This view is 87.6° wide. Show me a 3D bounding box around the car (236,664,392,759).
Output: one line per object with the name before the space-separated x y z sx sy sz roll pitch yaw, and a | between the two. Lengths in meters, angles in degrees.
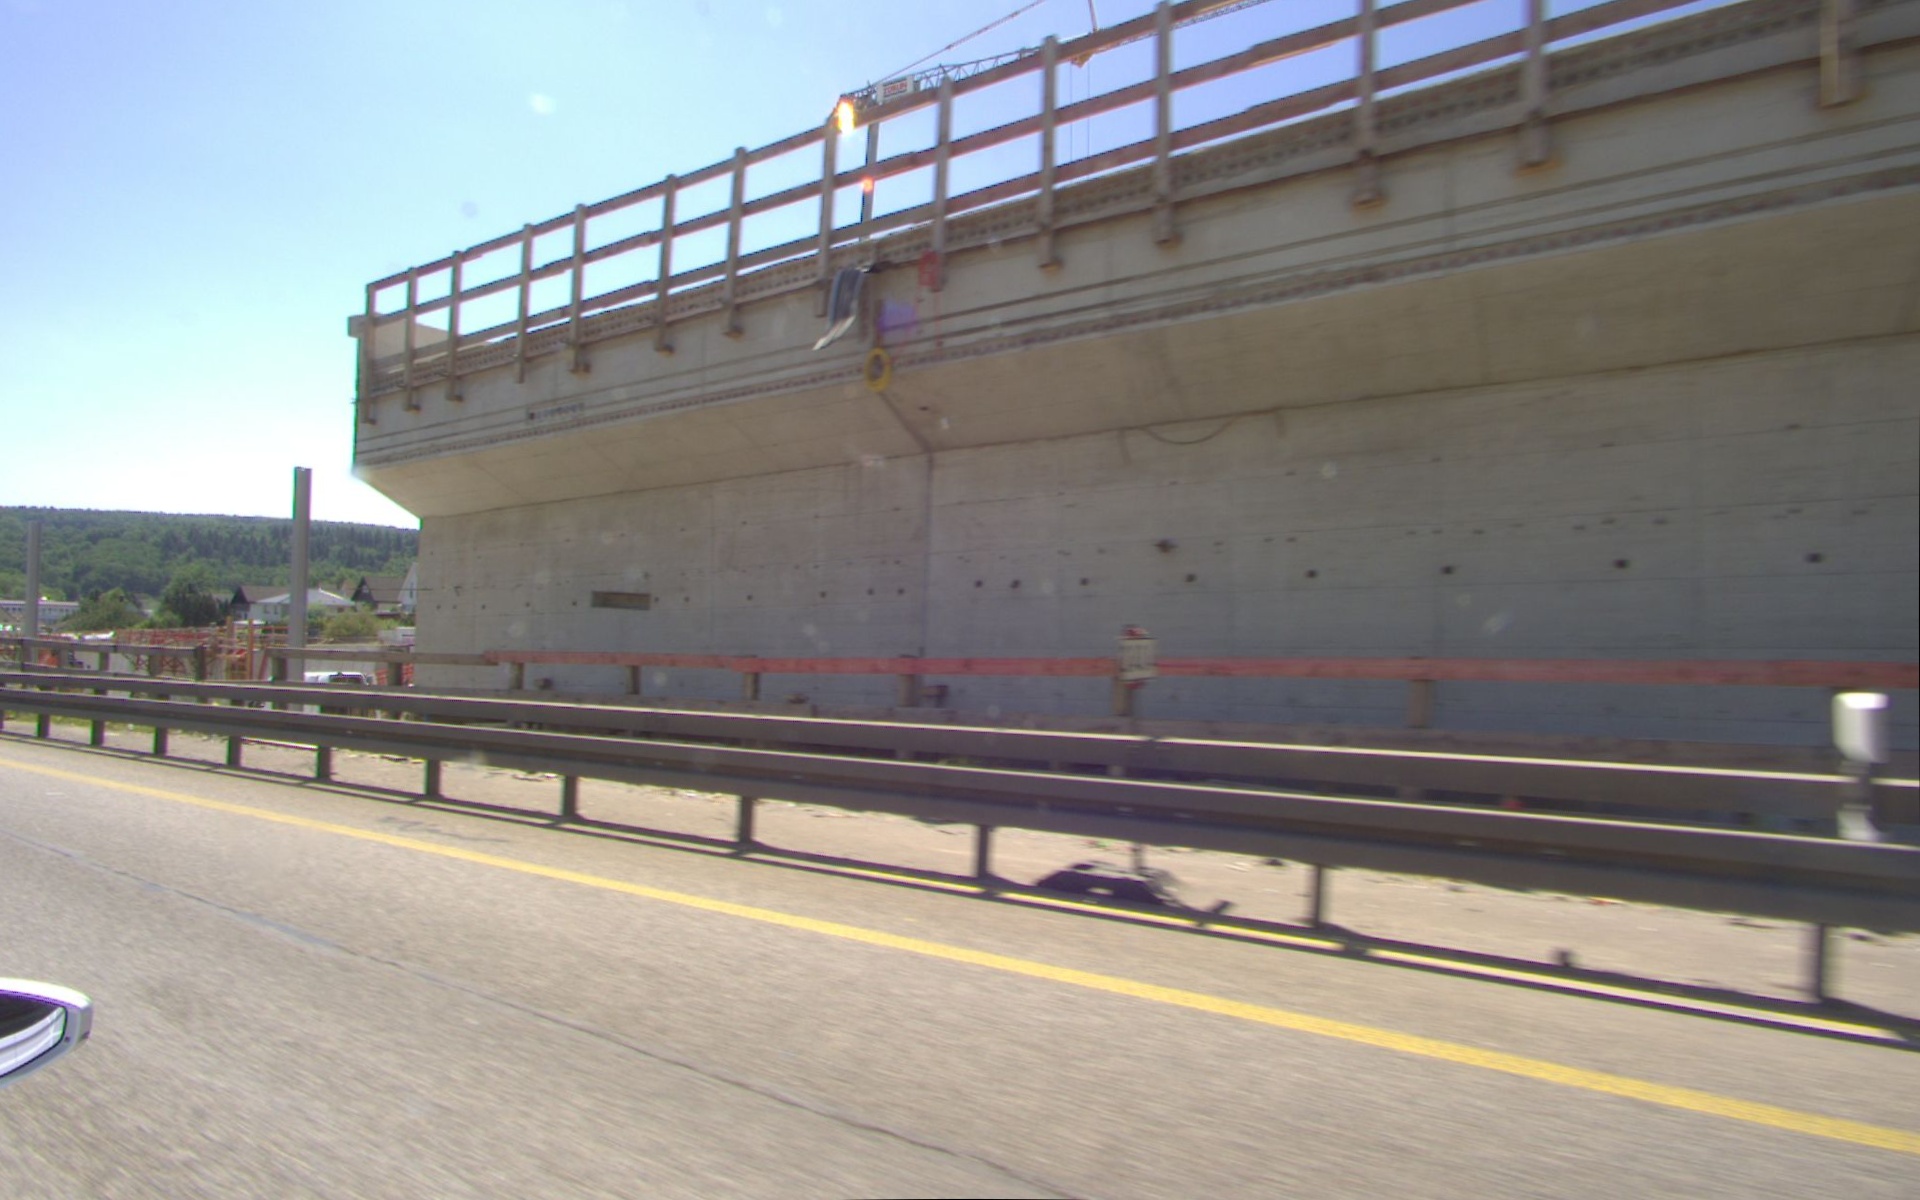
car | -22.239 3.673 34.335 6.932 2.892 2.139 -2 -2 36

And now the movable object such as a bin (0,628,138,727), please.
movable object such as a bin | -47.177 3.994 52.697 9.518 4.803 3.222 -2 -2 32

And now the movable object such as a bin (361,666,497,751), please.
movable object such as a bin | -18.870 3.752 35.481 5.430 2.710 2.138 -2 -2 37
